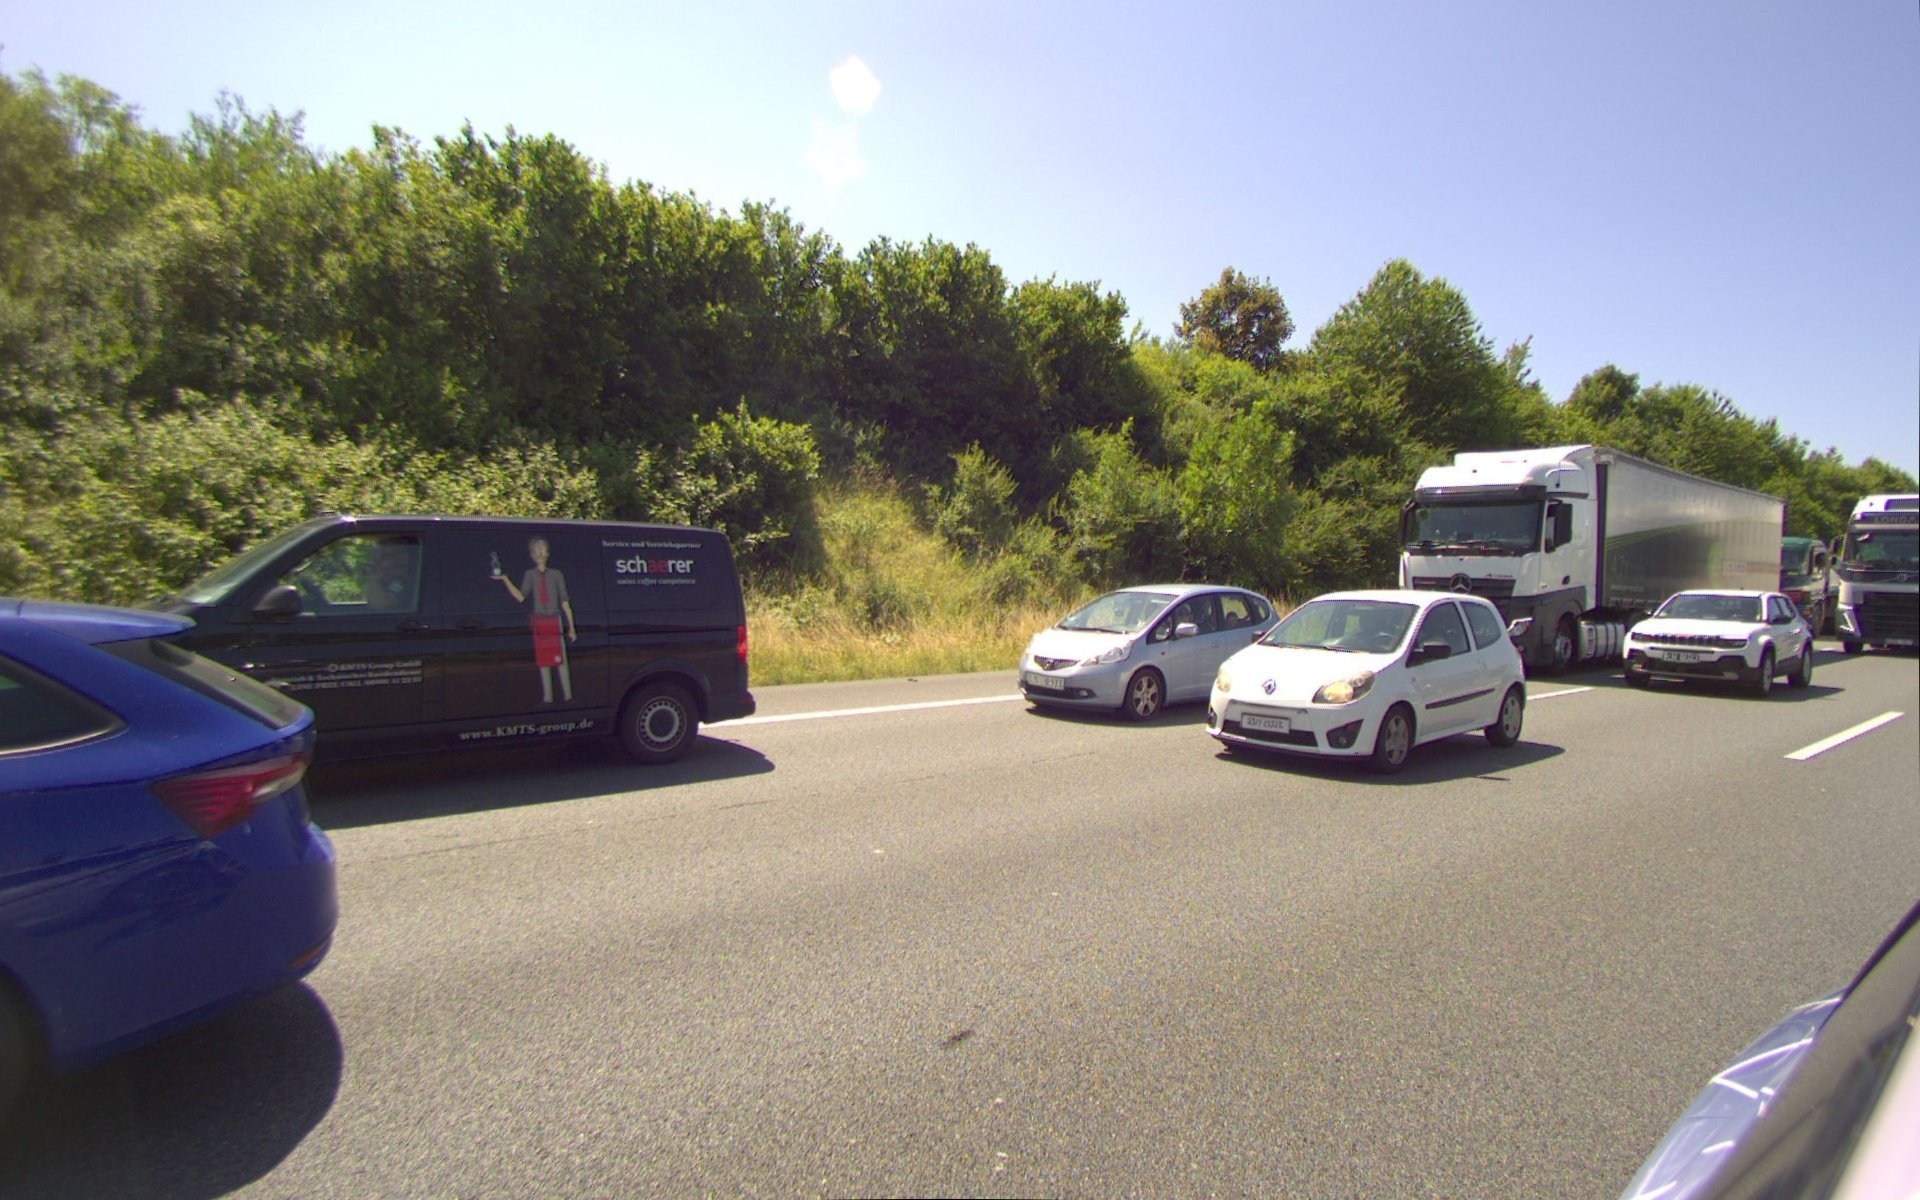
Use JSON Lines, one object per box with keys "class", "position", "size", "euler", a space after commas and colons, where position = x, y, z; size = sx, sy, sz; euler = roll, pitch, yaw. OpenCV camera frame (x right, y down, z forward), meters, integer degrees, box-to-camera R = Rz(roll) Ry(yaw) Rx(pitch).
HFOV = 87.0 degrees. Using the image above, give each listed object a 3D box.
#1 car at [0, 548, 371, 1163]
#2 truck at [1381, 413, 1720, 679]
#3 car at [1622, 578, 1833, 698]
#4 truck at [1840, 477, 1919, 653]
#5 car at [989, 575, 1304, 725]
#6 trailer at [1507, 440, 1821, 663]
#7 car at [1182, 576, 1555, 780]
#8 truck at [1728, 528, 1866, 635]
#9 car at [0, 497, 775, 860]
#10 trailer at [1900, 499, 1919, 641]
{"class": "car", "position": [-3.935, 0.602, 2.049], "size": [4.494, 1.433, 1.779], "euler": [-2, 4, -42]}
{"class": "truck", "position": [11.747, -0.939, 19.723], "size": [8.322, 4.208, 2.880], "euler": [-1, 2, -39]}
{"class": "car", "position": [12.031, 0.486, 15.799], "size": [3.815, 1.577, 1.748], "euler": [-1, 3, -39]}
{"class": "truck", "position": [25.287, -0.844, 25.866], "size": [8.209, 4.044, 2.750], "euler": [-1, 2, -39]}
{"class": "car", "position": [2.343, 0.484, 12.229], "size": [3.853, 1.479, 1.666], "euler": [-1, 3, -40]}
{"class": "trailer", "position": [17.119, -1.023, 24.038], "size": [11.857, 4.208, 2.880], "euler": [-1, 2, -39]}
{"class": "car", "position": [3.879, 0.542, 9.361], "size": [3.743, 1.451, 1.609], "euler": [-1, 3, -40]}
{"class": "truck", "position": [27.040, -0.613, 32.619], "size": [5.572, 3.185, 2.300], "euler": [-1, 2, -39]}
{"class": "car", "position": [-3.989, 0.349, 7.713], "size": [4.770, 1.964, 1.918], "euler": [-1, 3, -39]}
{"class": "trailer", "position": [31.378, -0.885, 30.760], "size": [8.990, 4.023, 2.776], "euler": [-1, 2, -39]}
